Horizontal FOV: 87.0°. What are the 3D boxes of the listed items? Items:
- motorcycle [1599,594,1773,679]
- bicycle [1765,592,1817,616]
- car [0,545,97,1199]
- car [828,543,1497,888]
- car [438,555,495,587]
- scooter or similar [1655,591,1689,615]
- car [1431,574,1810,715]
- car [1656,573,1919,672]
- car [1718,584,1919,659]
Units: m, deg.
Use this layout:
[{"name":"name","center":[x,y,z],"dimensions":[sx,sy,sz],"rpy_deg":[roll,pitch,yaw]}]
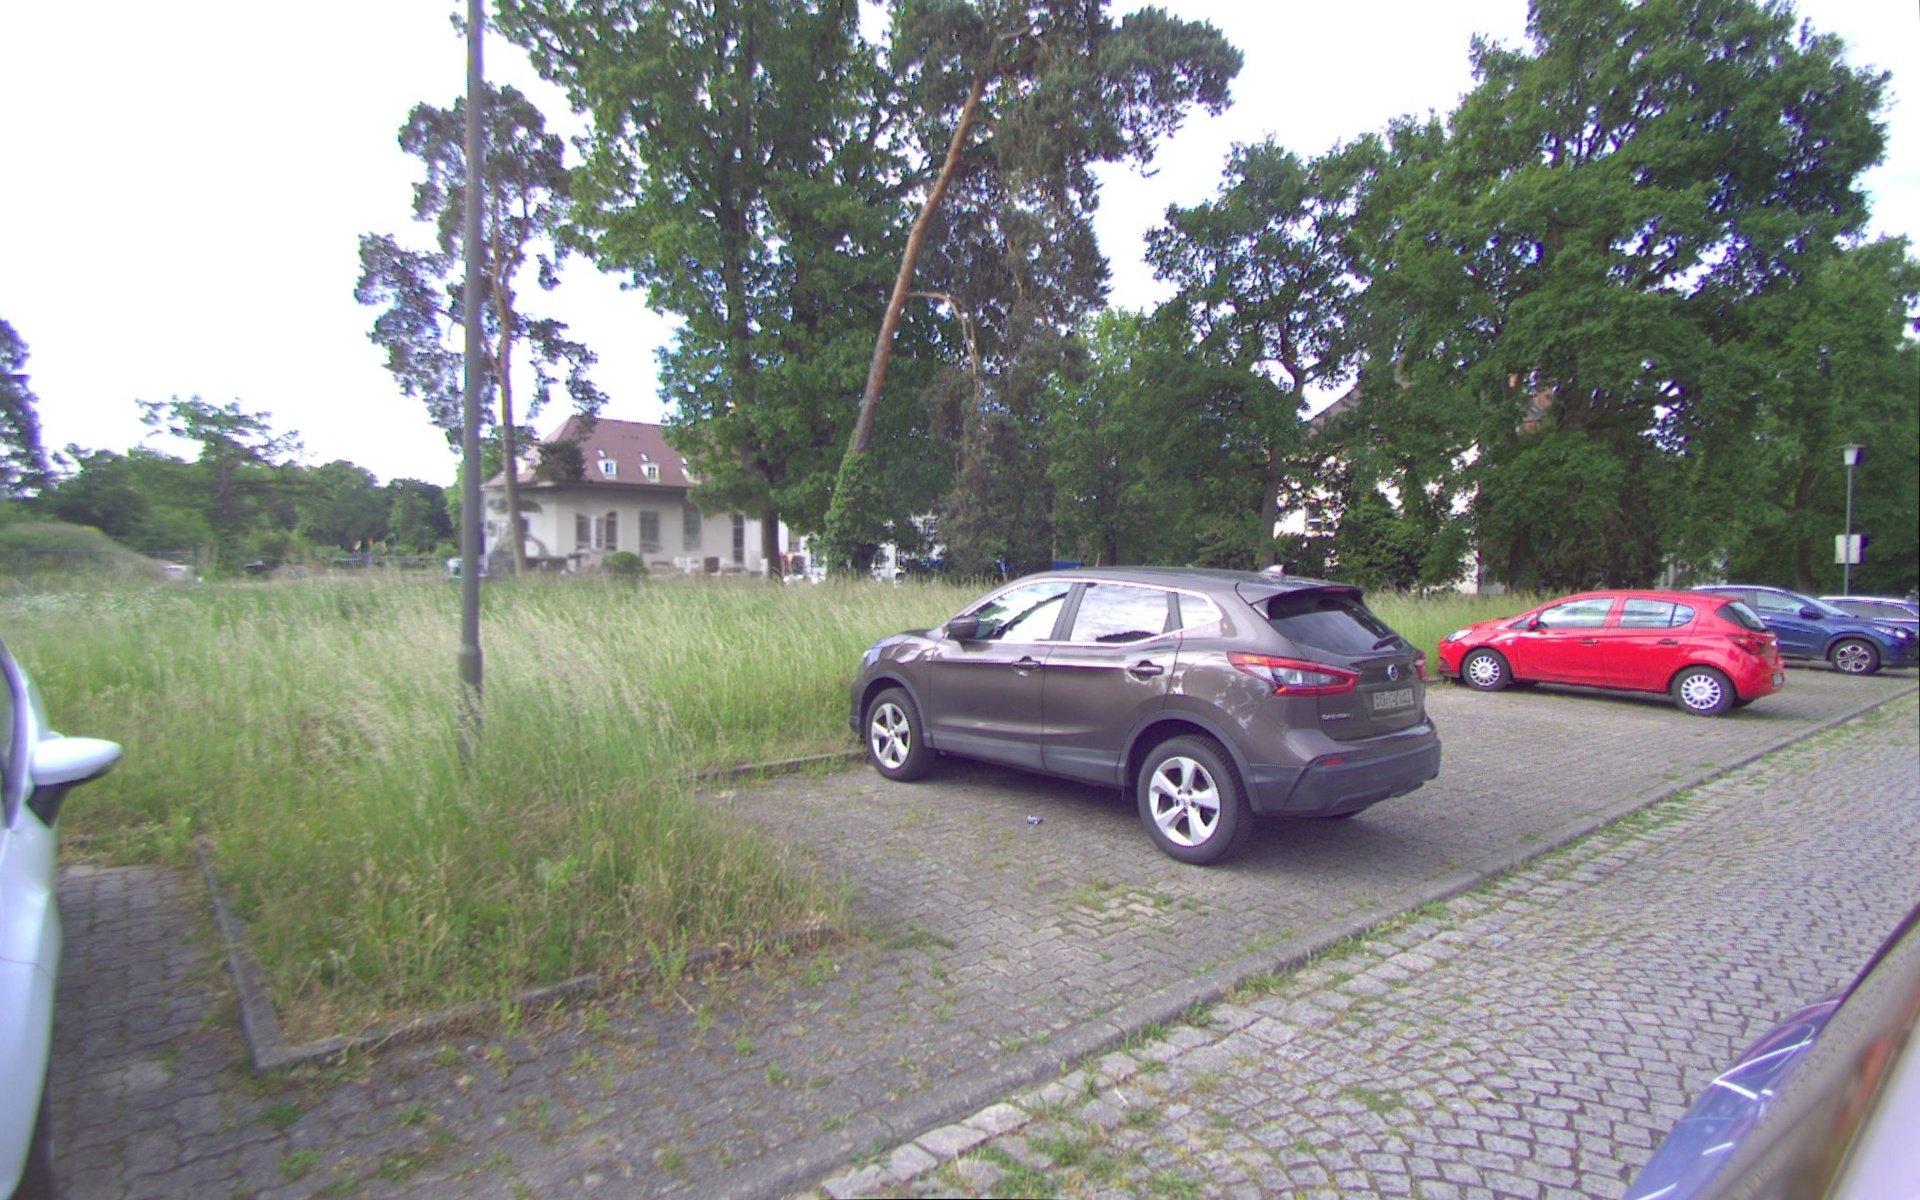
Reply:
[{"name":"motorcycle","center":[11.924,0.556,16.709],"dimensions":[0.558,1.216,2.234],"rpy_deg":[0,3,-42]},{"name":"bicycle","center":[41.162,0.200,50.143],"dimensions":[1.926,1.185,0.531],"rpy_deg":[0,0,35]},{"name":"car","center":[-3.548,0.593,2.751],"dimensions":[1.692,1.497,4.104],"rpy_deg":[0,3,-42]},{"name":"car","center":[1.088,0.455,7.002],"dimensions":[1.920,1.614,4.211],"rpy_deg":[0,3,-42]},{"name":"car","center":[-42.861,-2.451,87.883],"dimensions":[5.651,2.674,2.247],"rpy_deg":[0,0,38]},{"name":"scooter or similar","center":[34.399,0.138,48.893],"dimensions":[0.406,1.185,1.306],"rpy_deg":[0,0,-41]},{"name":"car","center":[8.731,0.469,13.644],"dimensions":[1.754,1.515,3.931],"rpy_deg":[0,3,-41]},{"name":"car","center":[16.573,0.364,20.041],"dimensions":[1.854,1.642,4.253],"rpy_deg":[0,3,-41]},{"name":"car","center":[20.177,0.451,22.989],"dimensions":[1.891,1.456,4.370],"rpy_deg":[0,2,-38]}]
